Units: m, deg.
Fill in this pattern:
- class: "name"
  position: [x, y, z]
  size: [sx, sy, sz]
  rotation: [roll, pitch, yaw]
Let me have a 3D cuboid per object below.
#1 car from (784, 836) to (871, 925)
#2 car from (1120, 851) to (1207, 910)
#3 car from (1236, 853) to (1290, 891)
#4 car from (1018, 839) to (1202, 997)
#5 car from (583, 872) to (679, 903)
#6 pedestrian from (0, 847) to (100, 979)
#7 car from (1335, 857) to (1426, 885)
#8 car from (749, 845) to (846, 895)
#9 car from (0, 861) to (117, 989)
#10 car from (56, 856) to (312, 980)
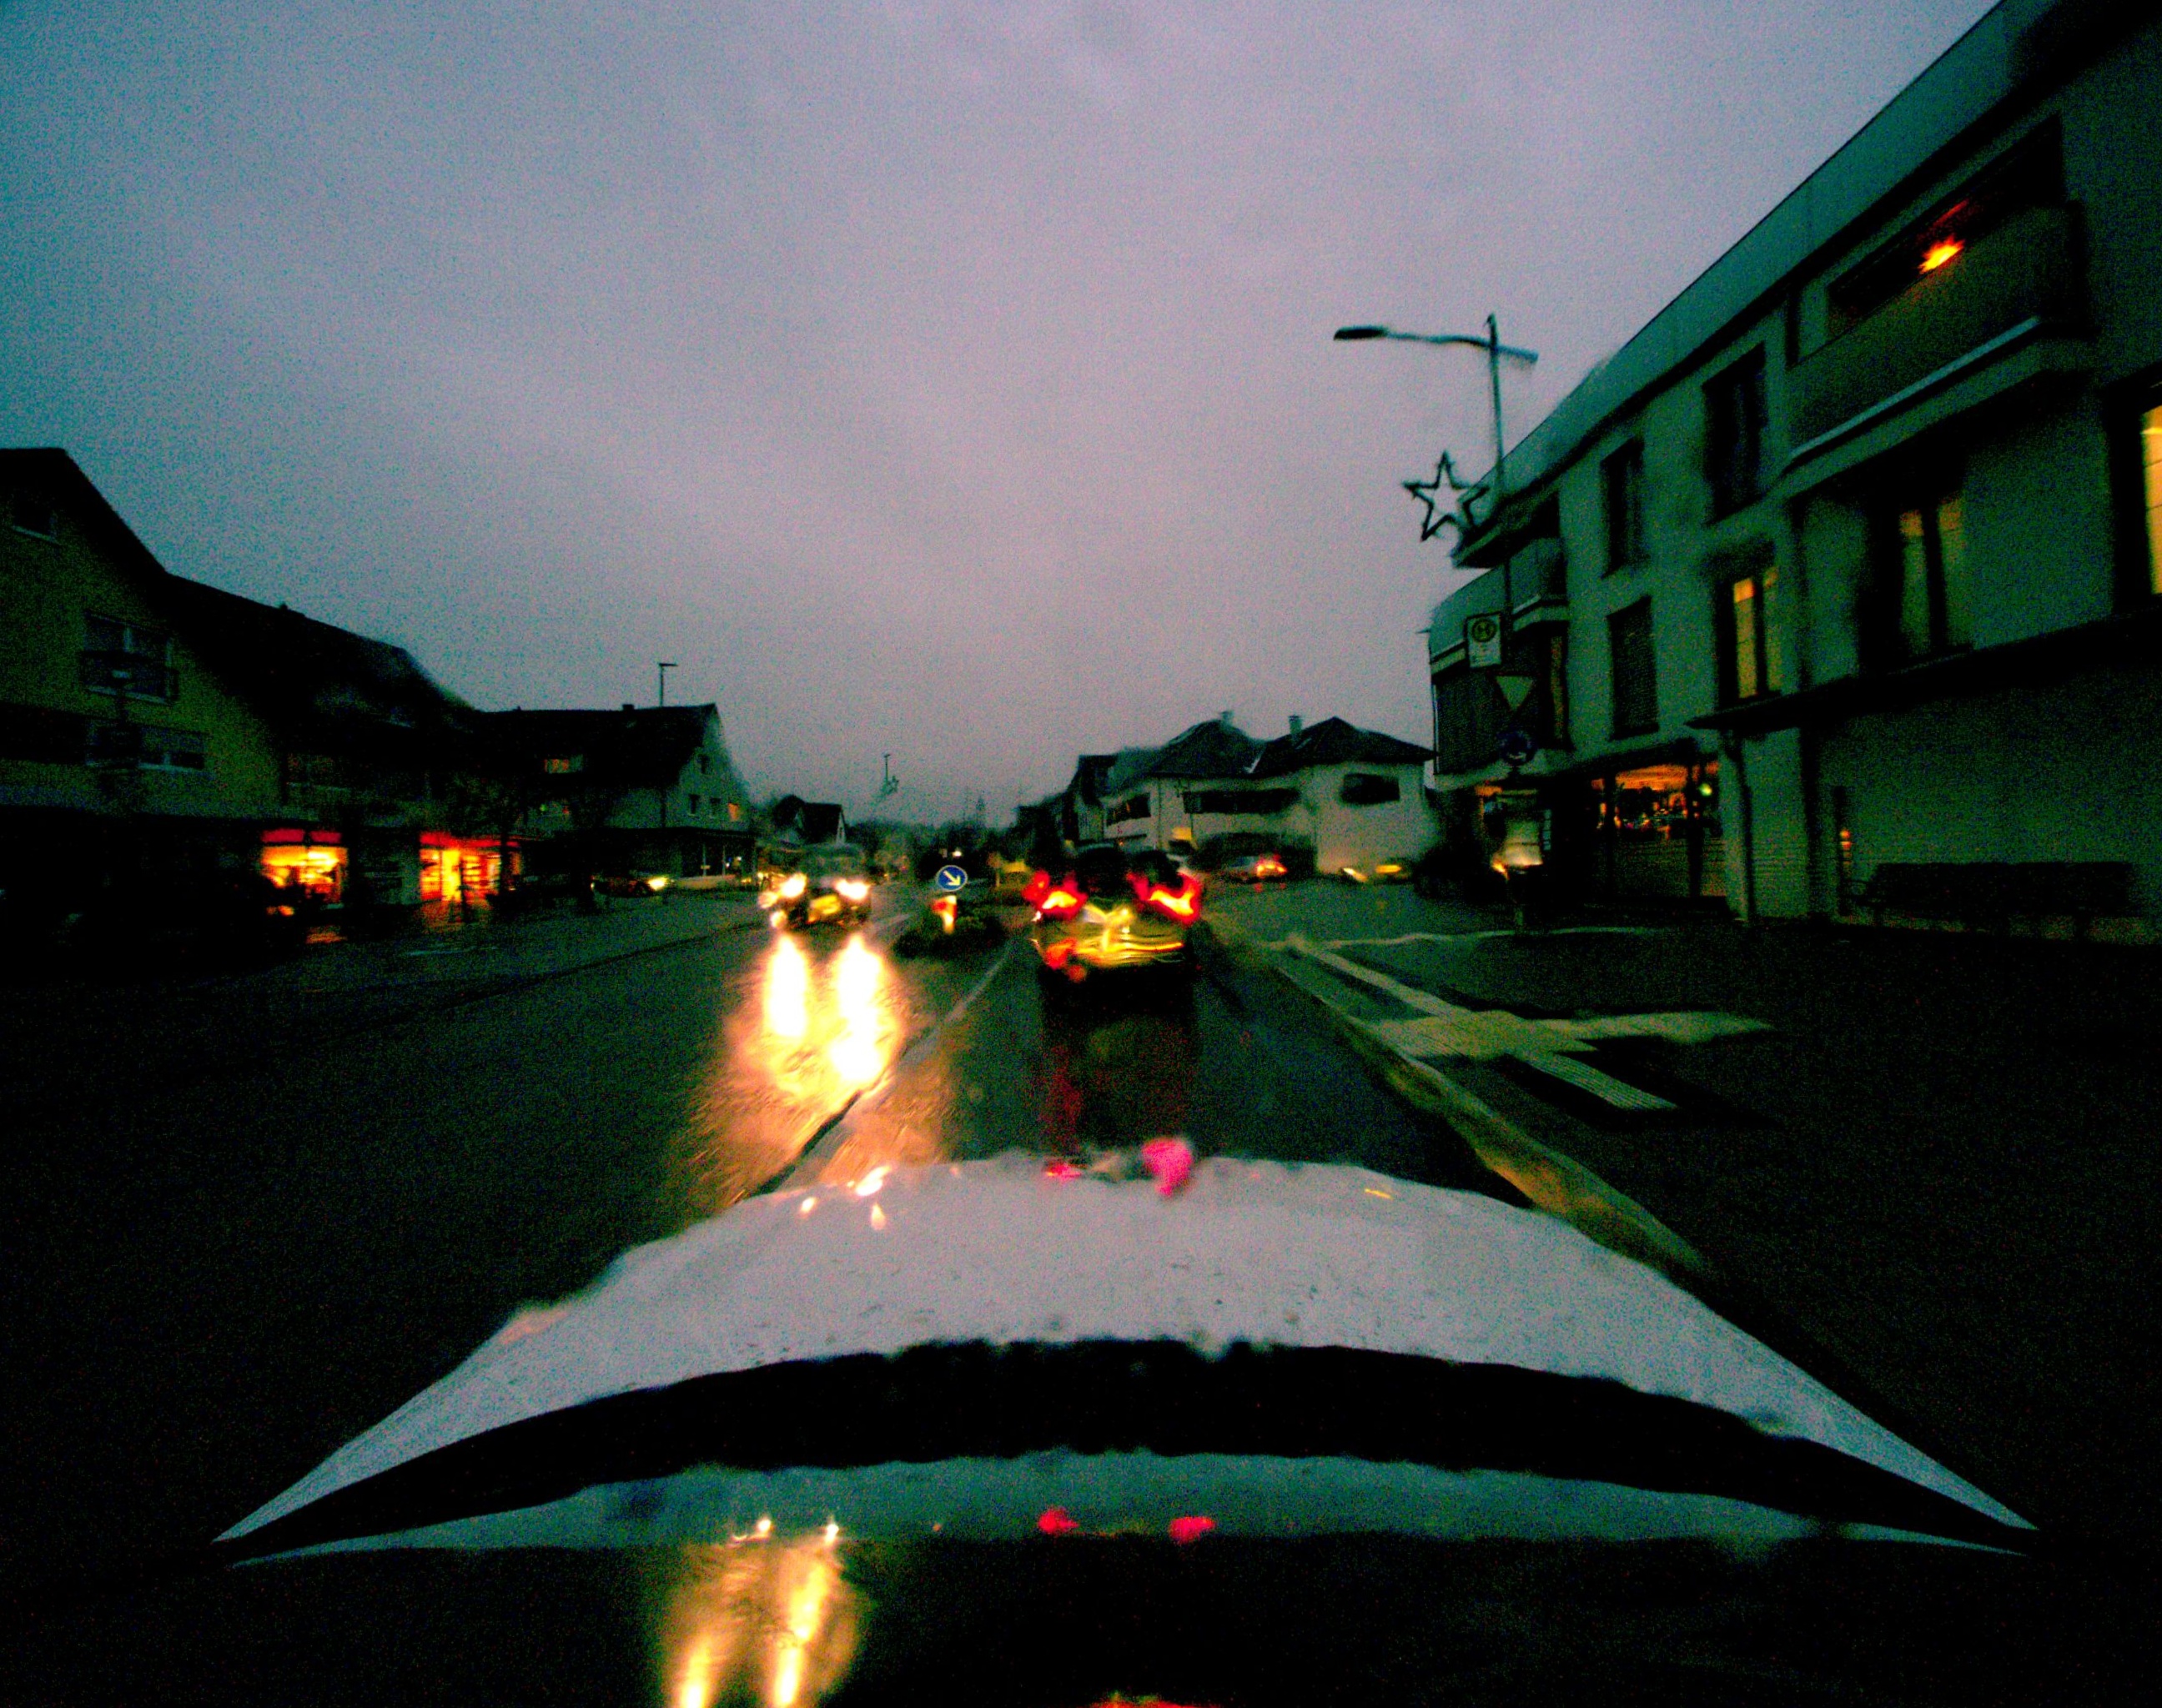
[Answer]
- class: "car"
  position: [-5.836, 0.567, 18.967]
  size: [1.722, 1.813, 4.114]
  rotation: [-1, 0, -16]
- class: "car"
  position: [2.506, 0.716, 23.842]
  size: [1.764, 1.539, 3.950]
  rotation: [-1, 0, 17]
- class: "car"
  position: [9.023, 0.866, 40.718]
  size: [1.815, 1.628, 4.001]
  rotation: [-3, 1, 1]
- class: "car"
  position: [0.268, 0.666, 10.488]
  size: [1.910, 1.615, 3.948]
  rotation: [-1, 0, -1]
- class: "car"
  position: [-22.296, 1.659, 40.437]
  size: [3.810, 1.422, 1.717]
  rotation: [-2, -2, 4]
- class: "pedestrian"
  position: [-14.259, 0.789, 11.169]
  size: [0.846, 1.711, 0.715]
  rotation: [-3, 1, -40]
- class: "car"
  position: [16.128, 0.931, 44.008]
  size: [4.209, 1.384, 1.849]
  rotation: [-1, -3, -1]
- class: "car"
  position: [-12.287, 0.686, 35.157]
  size: [4.838, 2.014, 2.012]
  rotation: [-1, -1, 44]
- class: "car"
  position: [-15.725, 1.012, 11.362]
  size: [1.848, 1.670, 3.856]
  rotation: [-4, 1, -34]
- class: "car"
  position: [-13.383, 0.859, 12.467]
  size: [1.923, 1.531, 4.133]
  rotation: [-1, -1, -38]
